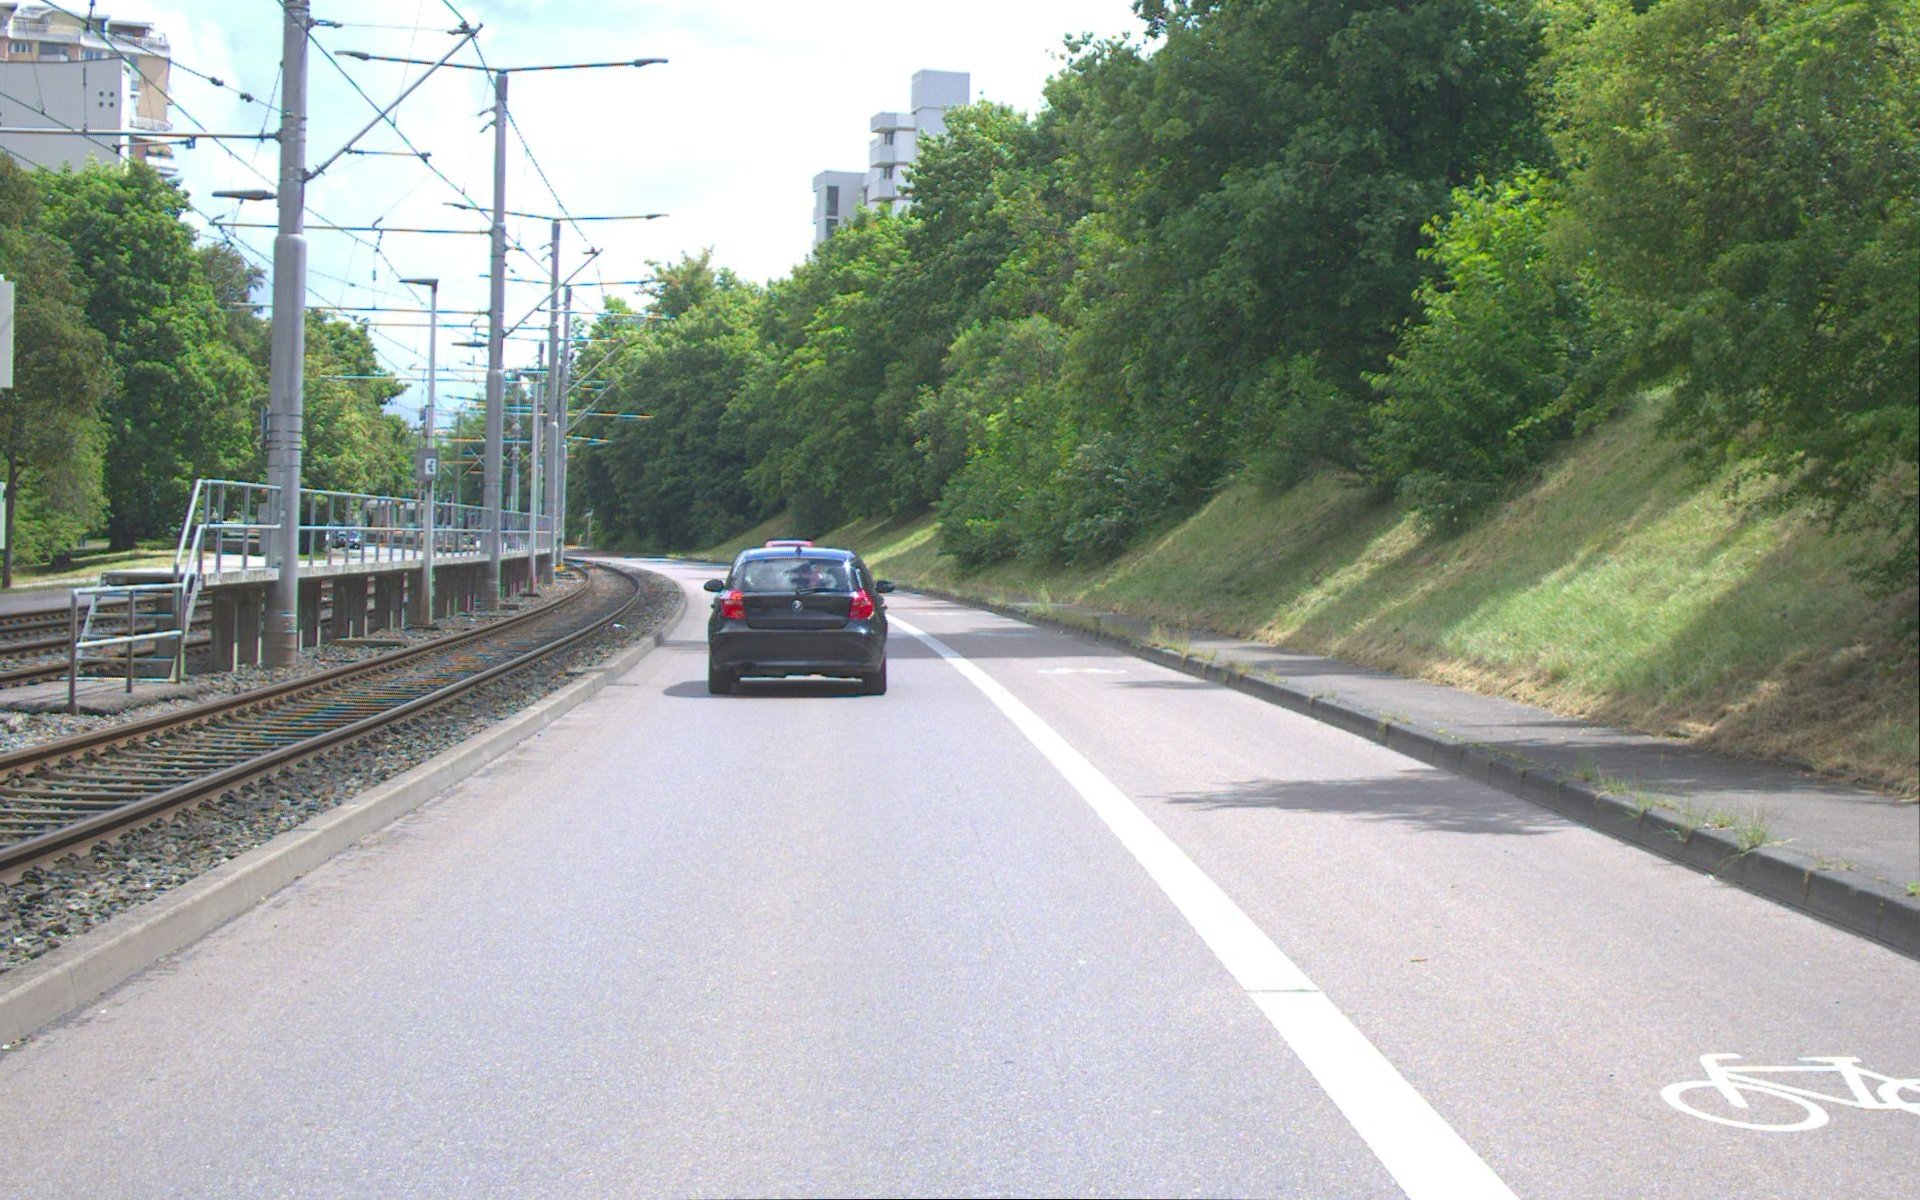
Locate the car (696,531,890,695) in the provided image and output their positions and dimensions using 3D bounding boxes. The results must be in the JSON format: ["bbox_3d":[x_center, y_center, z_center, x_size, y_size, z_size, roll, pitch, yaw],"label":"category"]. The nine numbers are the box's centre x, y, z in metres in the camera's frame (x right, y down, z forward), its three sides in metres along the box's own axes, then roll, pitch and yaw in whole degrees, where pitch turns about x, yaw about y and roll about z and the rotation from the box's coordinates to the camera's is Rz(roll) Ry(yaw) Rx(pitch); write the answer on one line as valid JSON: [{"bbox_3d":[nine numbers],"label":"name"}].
[{"bbox_3d":[-1.597,0.103,34.100,1.708,1.455,3.960,3,0,-1],"label":"car"}]

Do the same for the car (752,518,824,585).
[{"bbox_3d":[-4.228,-1.215,84.866,1.624,1.438,3.422,2,4,-1],"label":"car"}]
